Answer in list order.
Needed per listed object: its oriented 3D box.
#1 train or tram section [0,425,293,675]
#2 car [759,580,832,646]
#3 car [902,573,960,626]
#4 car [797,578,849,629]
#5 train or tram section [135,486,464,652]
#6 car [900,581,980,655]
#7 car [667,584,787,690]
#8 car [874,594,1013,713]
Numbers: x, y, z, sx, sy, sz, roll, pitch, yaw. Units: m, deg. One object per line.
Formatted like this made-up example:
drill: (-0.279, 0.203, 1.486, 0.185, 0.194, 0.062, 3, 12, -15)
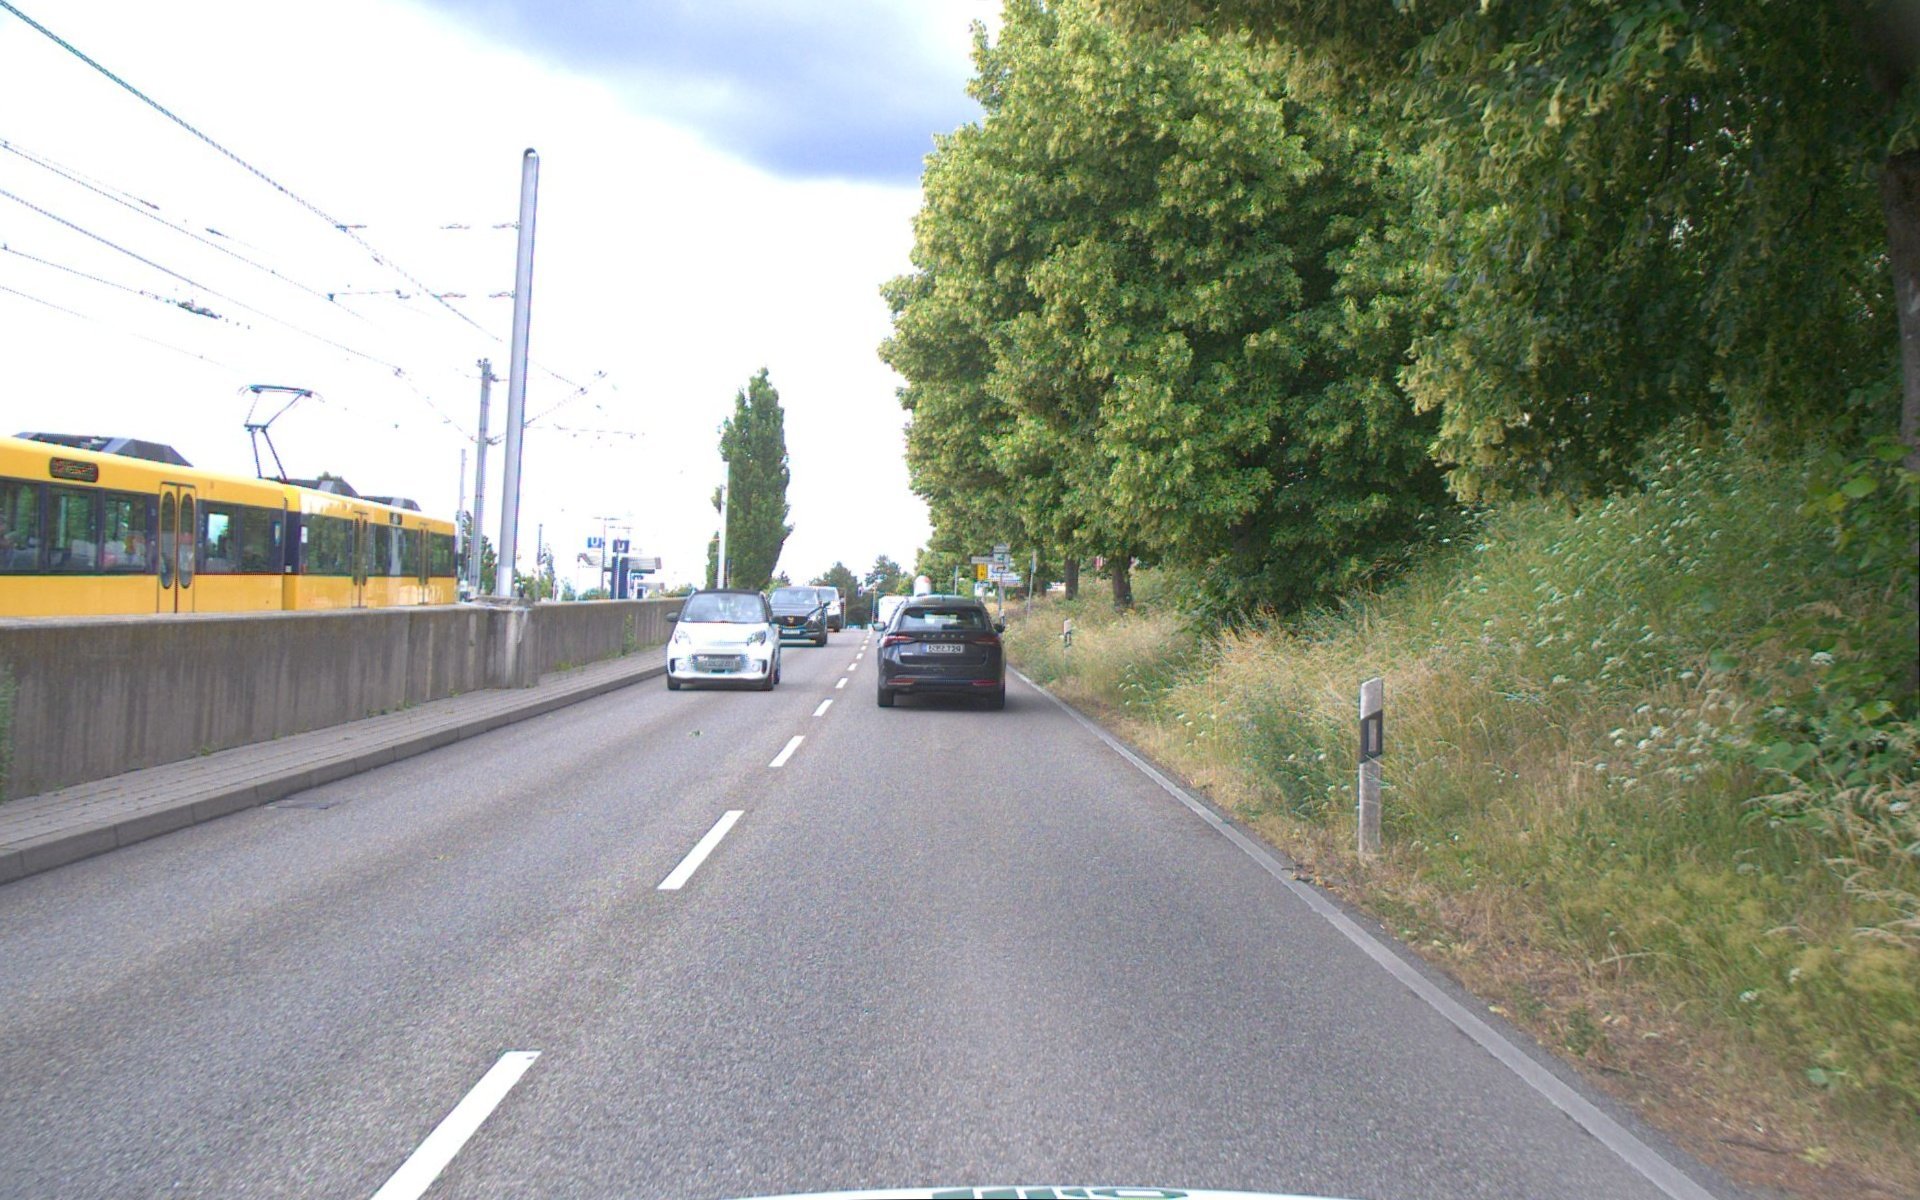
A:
train or tram section: (-13.277, -0.621, 21.634, 2.746, 3.078, 19.289, 1, 0, -5)
car: (-4.711, 0.353, 47.761, 1.872, 1.799, 4.304, 0, 0, -3)
car: (-1.003, -0.001, 57.825, 1.953, 1.771, 3.999, 1, -1, -1)
car: (-5.728, 0.123, 69.409, 1.953, 2.049, 4.311, 0, 0, -2)
train or tram section: (-15.212, -0.512, 40.470, 2.743, 3.075, 18.849, 1, 0, -7)
car: (-0.530, 0.430, 42.630, 1.953, 1.783, 3.999, 1, 0, -1)
car: (-3.761, 0.551, 27.241, 1.697, 1.599, 3.996, 0, 0, -4)
car: (-0.238, 0.678, 23.115, 1.745, 1.493, 3.999, 1, 0, -1)
